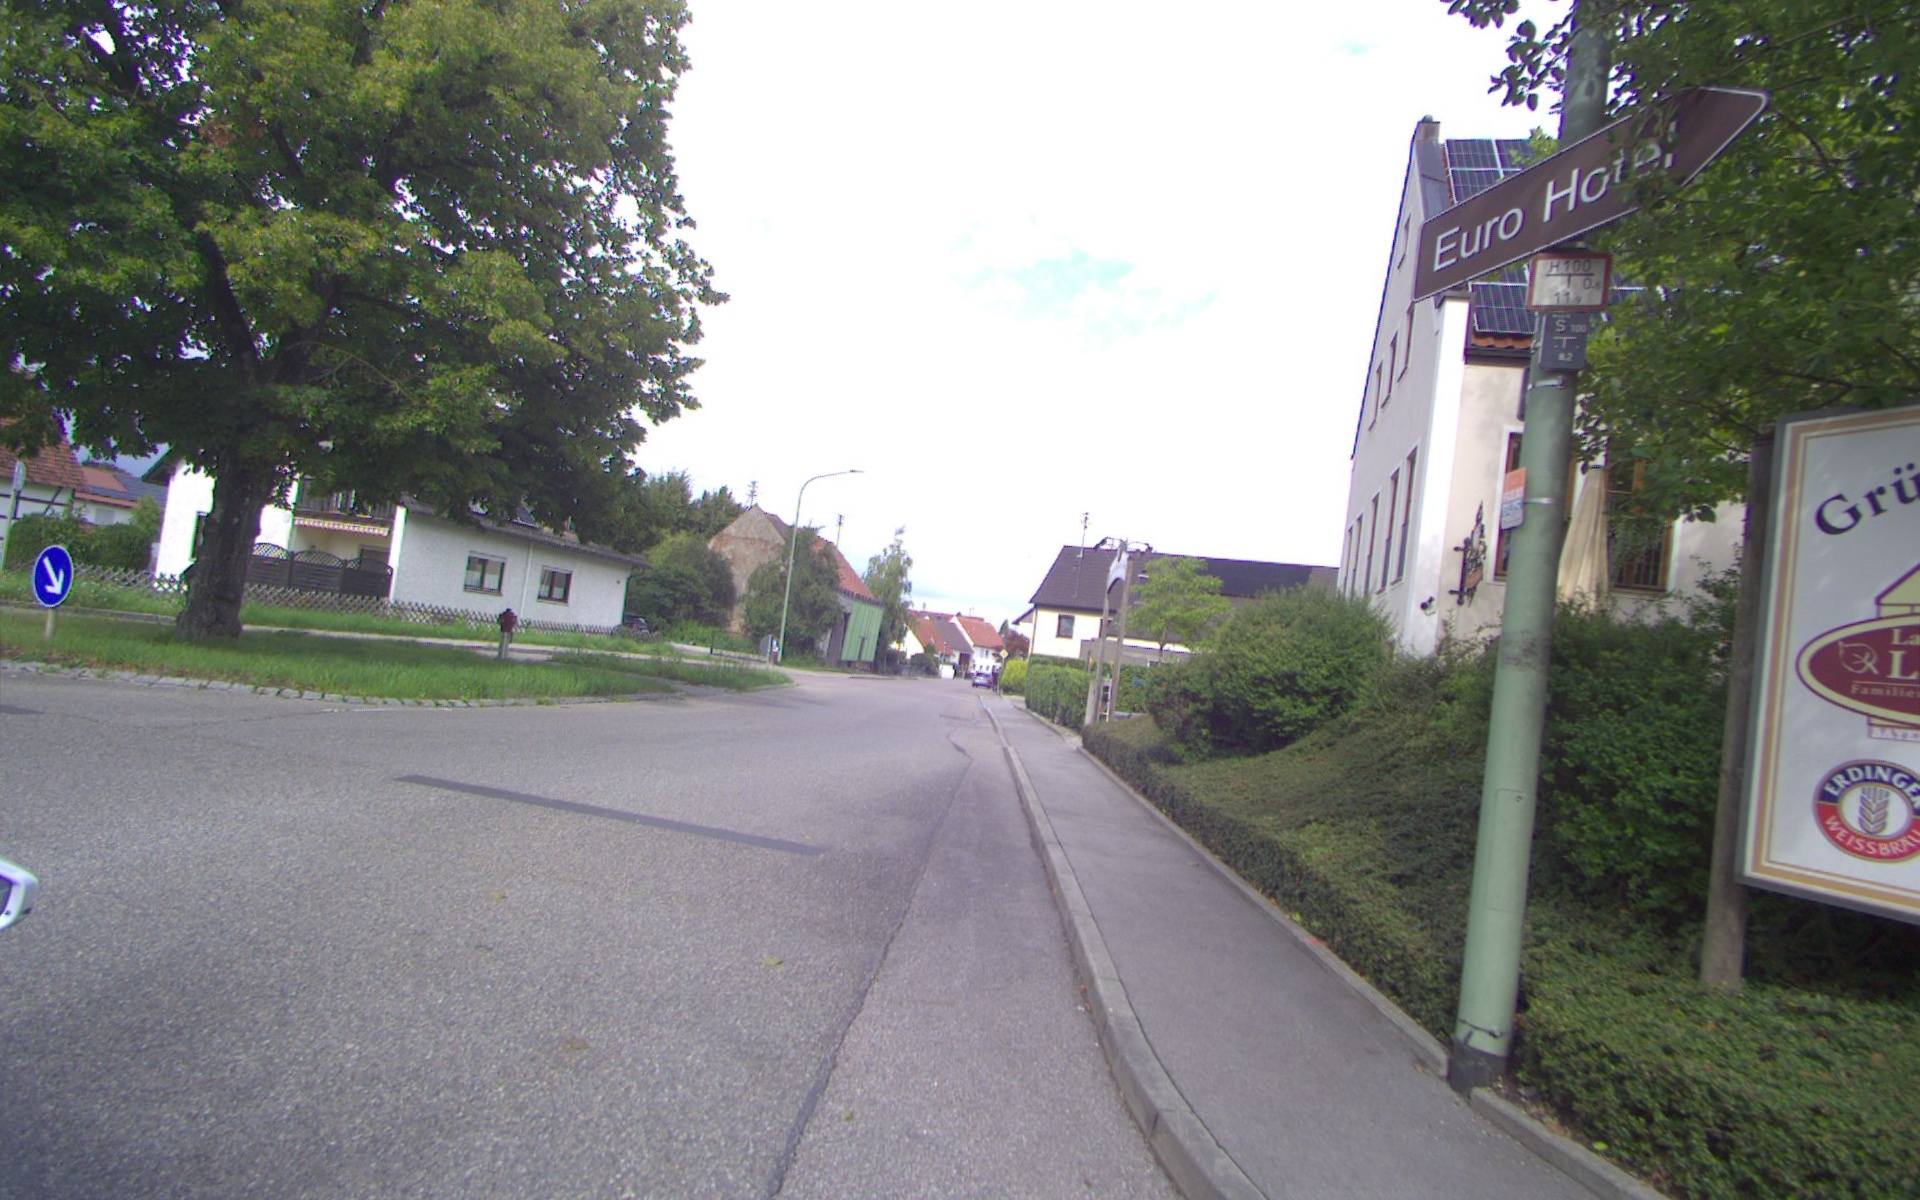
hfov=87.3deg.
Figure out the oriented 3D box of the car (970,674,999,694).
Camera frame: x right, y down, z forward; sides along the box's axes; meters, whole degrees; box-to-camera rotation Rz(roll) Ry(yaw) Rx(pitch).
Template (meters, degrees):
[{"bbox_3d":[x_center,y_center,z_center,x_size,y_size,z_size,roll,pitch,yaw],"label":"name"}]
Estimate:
[{"bbox_3d":[2.337,8.014,95.438,1.698,1.624,4.007,7,-3,15],"label":"car"}]
